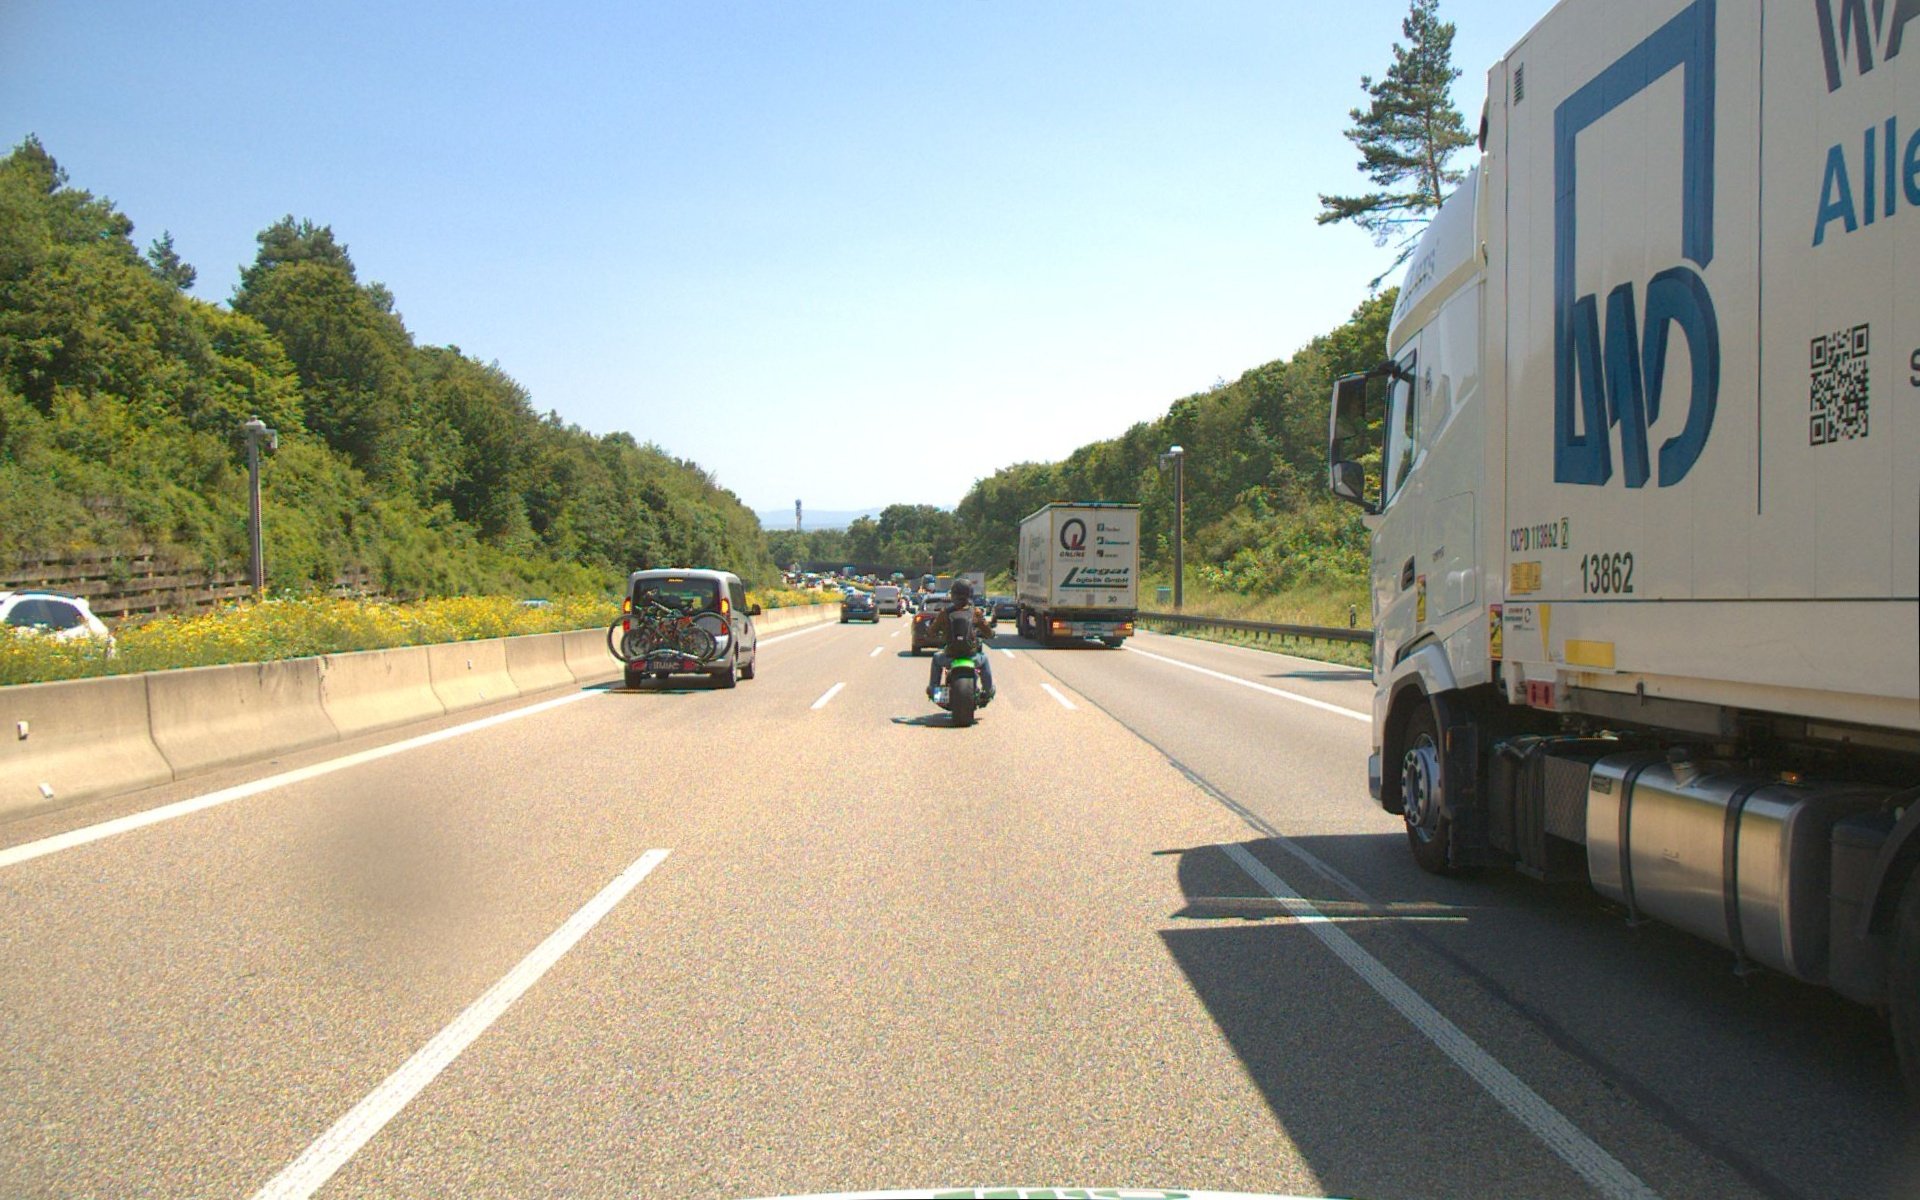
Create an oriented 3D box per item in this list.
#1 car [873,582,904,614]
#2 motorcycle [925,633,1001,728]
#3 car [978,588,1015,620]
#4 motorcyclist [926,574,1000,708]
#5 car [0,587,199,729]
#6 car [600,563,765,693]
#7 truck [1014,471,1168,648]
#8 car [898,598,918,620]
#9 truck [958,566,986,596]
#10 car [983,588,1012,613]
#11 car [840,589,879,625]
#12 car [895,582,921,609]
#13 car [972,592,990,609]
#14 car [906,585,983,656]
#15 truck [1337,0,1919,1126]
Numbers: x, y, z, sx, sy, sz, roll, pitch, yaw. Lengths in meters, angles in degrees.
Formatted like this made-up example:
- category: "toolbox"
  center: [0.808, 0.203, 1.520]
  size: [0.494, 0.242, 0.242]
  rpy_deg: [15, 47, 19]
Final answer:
- category: "car"
  center: [-4.456, -0.136, 103.204]
  size: [1.794, 1.842, 4.119]
  rpy_deg: [1, 1, -1]
- category: "motorcycle"
  center: [0.034, 0.922, 19.587]
  size: [0.844, 0.999, 2.131]
  rpy_deg: [0, 1, 0]
- category: "car"
  center: [1.967, 0.219, 89.785]
  size: [1.794, 1.585, 4.119]
  rpy_deg: [1, 2, -1]
- category: "motorcyclist"
  center: [0.034, 0.467, 19.436]
  size: [0.838, 1.541, 0.914]
  rpy_deg: [0, 0, 0]
- category: "car"
  center: [-11.131, 0.636, 20.256]
  size: [1.752, 1.548, 4.202]
  rpy_deg: [-1, 1, -2]
- category: "car"
  center: [-4.390, 0.378, 26.994]
  size: [1.860, 1.880, 5.482]
  rpy_deg: [1, 1, -1]
- category: "truck"
  center: [3.900, -1.306, 54.537]
  size: [3.314, 4.800, 17.707]
  rpy_deg: [2, 1, -1]
- category: "car"
  center: [-4.795, 0.802, 152.824]
  size: [1.794, 1.842, 4.119]
  rpy_deg: [1, 1, -1]
- category: "truck"
  center: [1.364, -2.312, 196.086]
  size: [3.005, 3.404, 9.651]
  rpy_deg: [2, 1, -1]
- category: "car"
  center: [2.612, 0.020, 116.240]
  size: [1.794, 1.585, 4.119]
  rpy_deg: [1, 2, -1]
- category: "car"
  center: [-4.883, 0.319, 80.880]
  size: [1.722, 1.570, 4.394]
  rpy_deg: [1, 2, -1]
- category: "car"
  center: [-3.783, -0.321, 120.076]
  size: [1.794, 1.842, 4.119]
  rpy_deg: [1, 1, -1]
- category: "car"
  center: [2.174, 0.038, 172.413]
  size: [1.794, 1.585, 4.119]
  rpy_deg: [1, 2, -1]
- category: "car"
  center: [-0.400, 0.468, 41.396]
  size: [1.808, 1.584, 4.439]
  rpy_deg: [1, 2, -1]
- category: "truck"
  center: [3.917, -0.656, 5.829]
  size: [2.625, 4.130, 10.625]
  rpy_deg: [1, 1, 0]
